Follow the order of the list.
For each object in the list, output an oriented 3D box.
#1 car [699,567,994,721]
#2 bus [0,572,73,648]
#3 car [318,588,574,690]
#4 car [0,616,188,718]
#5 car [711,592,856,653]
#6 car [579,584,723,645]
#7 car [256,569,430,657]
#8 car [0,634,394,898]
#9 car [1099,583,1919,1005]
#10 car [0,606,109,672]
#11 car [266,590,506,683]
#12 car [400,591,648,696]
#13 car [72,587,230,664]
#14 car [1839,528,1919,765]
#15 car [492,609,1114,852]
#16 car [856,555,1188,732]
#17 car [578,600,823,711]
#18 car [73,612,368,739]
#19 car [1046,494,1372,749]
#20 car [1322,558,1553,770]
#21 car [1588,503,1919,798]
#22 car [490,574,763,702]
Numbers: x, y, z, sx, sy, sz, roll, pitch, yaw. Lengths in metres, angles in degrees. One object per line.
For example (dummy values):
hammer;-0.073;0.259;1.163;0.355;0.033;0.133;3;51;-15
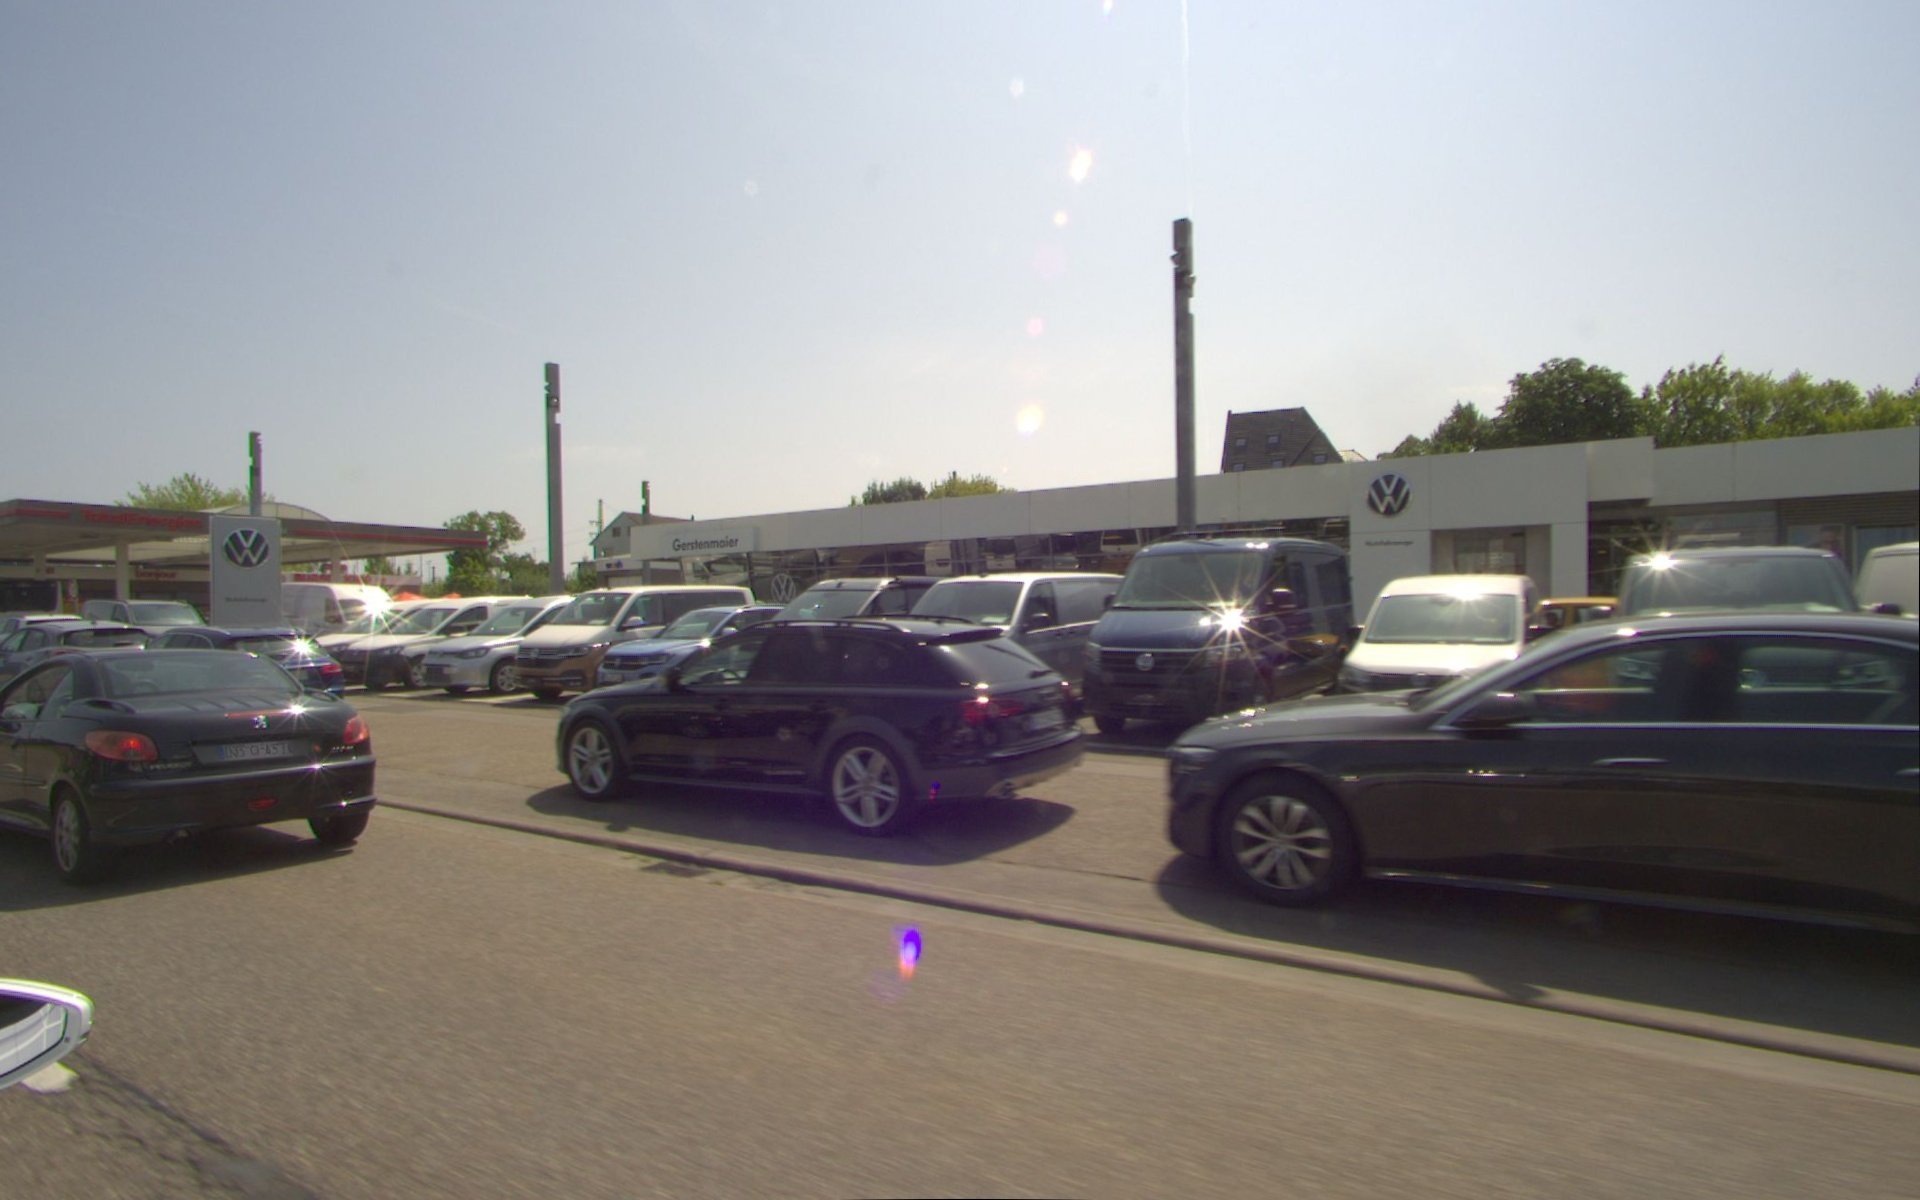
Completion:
car;-1.549;0.615;15.568;1.975;2.010;4.778;1;-1;33
bus;-44.039;0.418;45.778;12.122;3.119;2.796;0;0;36
car;-10.704;0.734;21.229;1.830;1.913;4.547;0;0;31
car;-15.356;1.076;17.224;4.114;1.572;1.732;-1;-1;28
car;-4.943;0.620;28.501;1.834;1.592;3.976;-1;-1;35
car;-13.964;0.638;45.059;6.972;2.590;2.251;-1;0;33
car;-20.915;0.432;33.828;6.918;2.711;2.251;-1;0;33
car;-5.822;0.968;7.139;3.609;1.443;1.597;-1;-2;32
car;3.445;0.741;5.038;5.087;1.551;1.956;-1;2;32
car;-24.914;1.008;27.051;4.547;1.617;1.663;-1;1;32
car;-12.969;0.754;22.925;1.881;1.907;4.404;-1;0;31
car;-8.435;0.759;19.729;1.854;1.804;4.142;-1;0;31
car;-23.508;0.767;29.047;5.086;2.048;1.991;-1;-2;32
car;9.727;0.382;8.901;2.011;2.125;5.053;-1;1;31
car;-1.445;0.880;8.373;5.078;1.501;1.852;-1;0;30
car;1.207;0.543;14.625;2.228;2.040;5.880;0;-1;34
car;-4.117;0.854;16.308;1.695;1.590;3.618;-1;-2;38
car;-10.793;1.018;14.526;4.720;1.568;1.710;-2;0;31
car;3.529;0.339;13.067;2.175;2.555;5.829;-3;-3;34
car;5.561;0.538;11.309;1.923;1.876;4.558;0;1;31
car;7.454;0.332;9.814;2.098;2.143;4.889;0;1;31
car;-5.922;0.565;18.413;1.931;2.041;4.632;0;1;30
